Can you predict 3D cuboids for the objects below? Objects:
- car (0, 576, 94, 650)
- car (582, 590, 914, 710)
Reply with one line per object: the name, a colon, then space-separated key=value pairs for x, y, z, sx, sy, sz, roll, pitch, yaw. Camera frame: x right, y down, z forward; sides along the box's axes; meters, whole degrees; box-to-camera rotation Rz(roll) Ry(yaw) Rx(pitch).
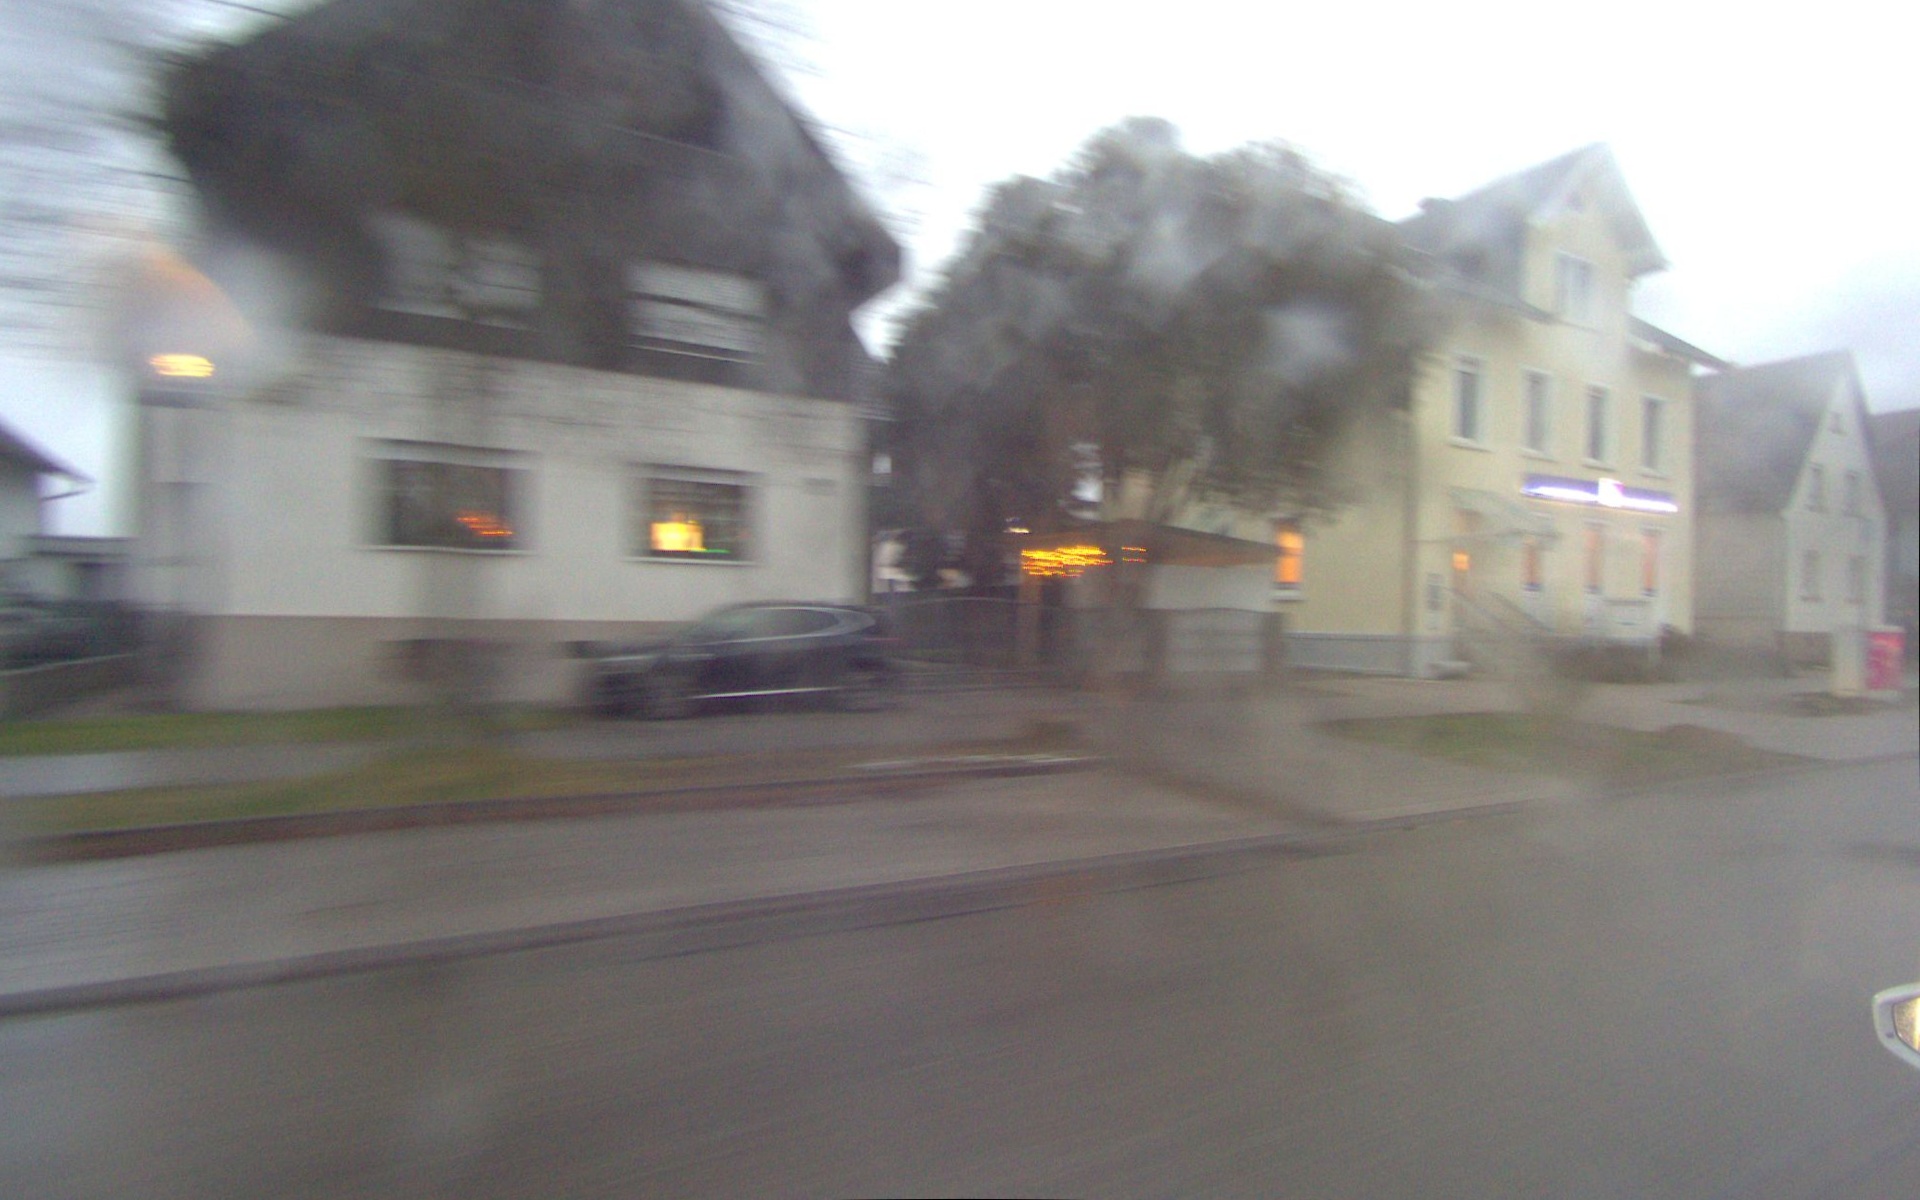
car: x=-17.976 y=0.285 z=18.855 sx=1.834 sy=1.274 sz=3.969 roll=2 pitch=-3 yaw=-30
car: x=-2.779 y=0.644 z=13.272 sx=3.949 sy=1.384 sz=1.775 roll=3 pitch=-1 yaw=-27
